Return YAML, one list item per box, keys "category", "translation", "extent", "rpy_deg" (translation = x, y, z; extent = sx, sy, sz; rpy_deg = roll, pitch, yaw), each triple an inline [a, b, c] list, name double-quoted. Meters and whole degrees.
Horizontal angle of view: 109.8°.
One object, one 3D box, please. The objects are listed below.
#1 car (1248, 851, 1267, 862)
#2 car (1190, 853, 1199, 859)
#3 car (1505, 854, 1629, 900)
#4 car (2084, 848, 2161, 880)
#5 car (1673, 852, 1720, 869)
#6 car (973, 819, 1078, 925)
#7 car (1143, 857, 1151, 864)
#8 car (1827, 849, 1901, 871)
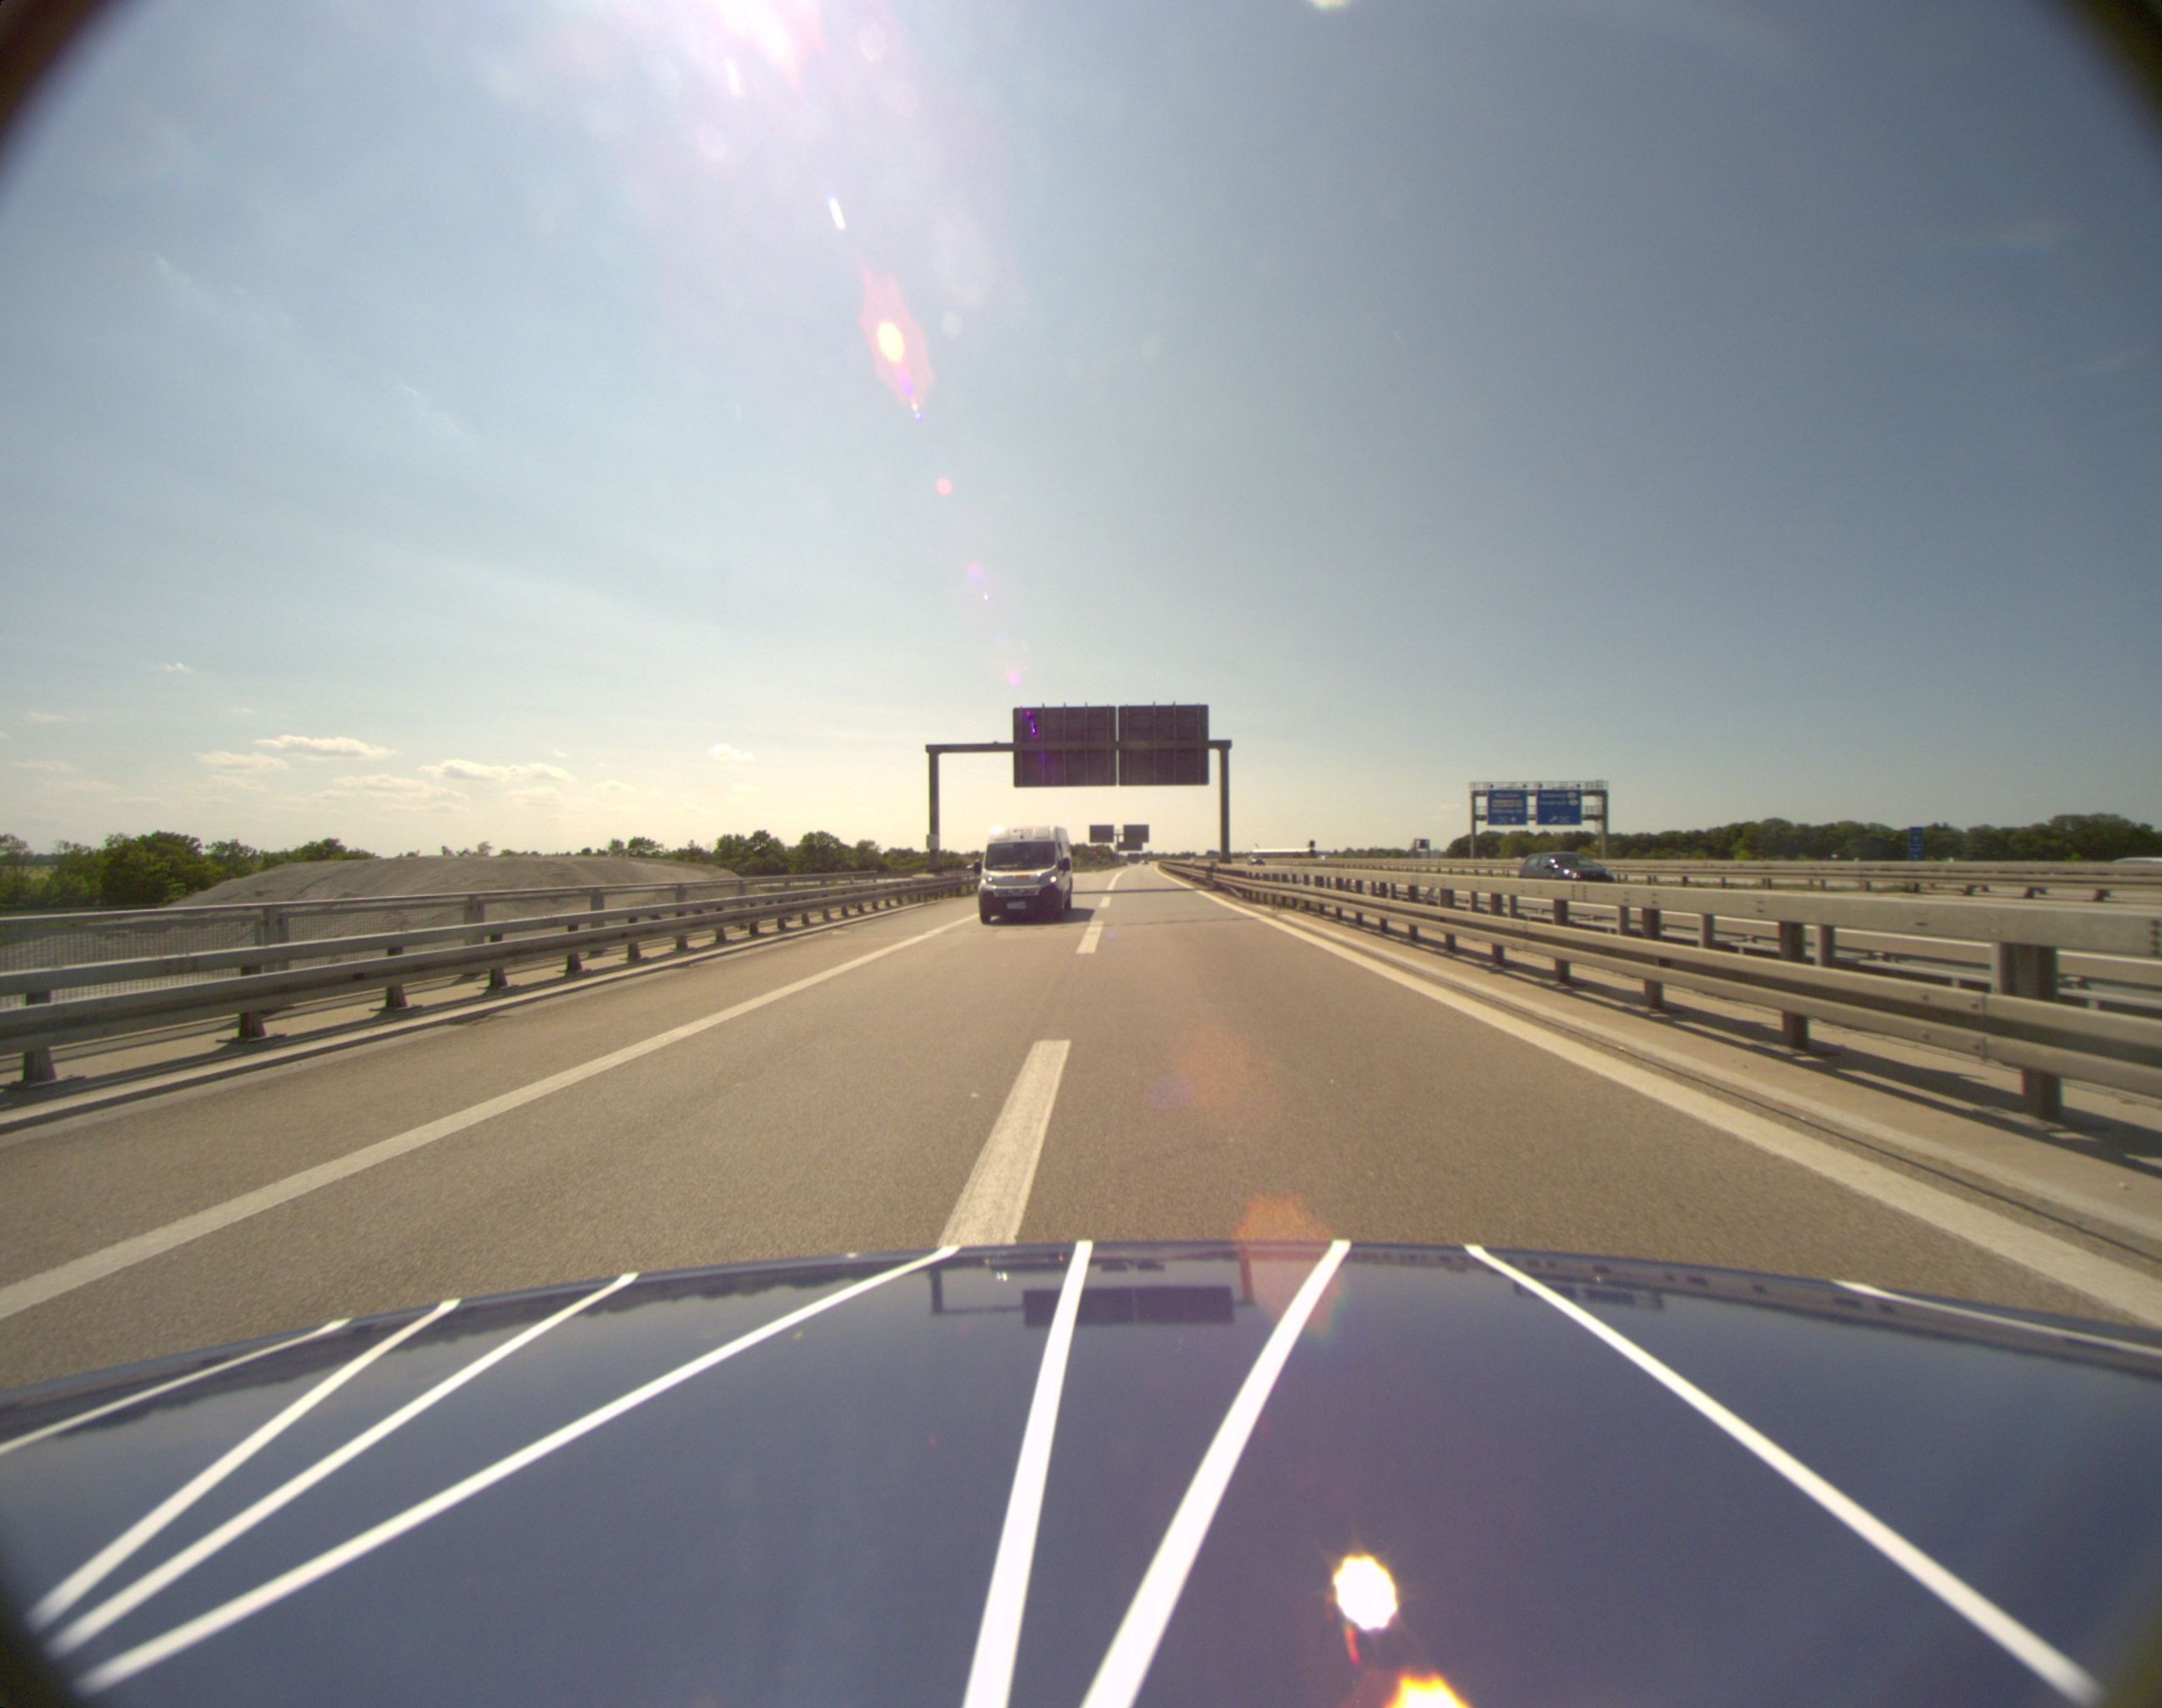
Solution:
- category: "car"
  translation: [25.052, 0.278, 108.186]
  extent: [1.842, 1.508, 4.576]
  rpy_deg: [-1, 0, 3]
- category: "car"
  translation: [29.497, 0.519, 198.121]
  extent: [1.842, 1.508, 4.576]
  rpy_deg: [-1, 0, 3]
- category: "car"
  translation: [16.964, 0.750, 26.802]
  extent: [1.834, 1.424, 4.218]
  rpy_deg: [-1, 0, 3]
- category: "car"
  translation: [50.225, 0.467, 35.779]
  extent: [1.582, 1.347, 3.343]
  rpy_deg: [0, 2, 2]
- category: "car"
  translation: [55.583, 0.582, 68.708]
  extent: [1.582, 1.347, 3.343]
  rpy_deg: [0, 2, 2]
- category: "car"
  translation: [-1.338, 0.451, 21.166]
  extent: [2.087, 2.509, 6.239]
  rpy_deg: [-1, 0, 3]
- category: "car"
  translation: [16.912, 1.562, 194.020]
  extent: [1.998, 1.744, 4.001]
  rpy_deg: [-1, 0, 5]
- category: "car"
  translation: [52.881, 0.384, 51.398]
  extent: [1.582, 1.347, 3.343]
  rpy_deg: [0, 2, 2]
